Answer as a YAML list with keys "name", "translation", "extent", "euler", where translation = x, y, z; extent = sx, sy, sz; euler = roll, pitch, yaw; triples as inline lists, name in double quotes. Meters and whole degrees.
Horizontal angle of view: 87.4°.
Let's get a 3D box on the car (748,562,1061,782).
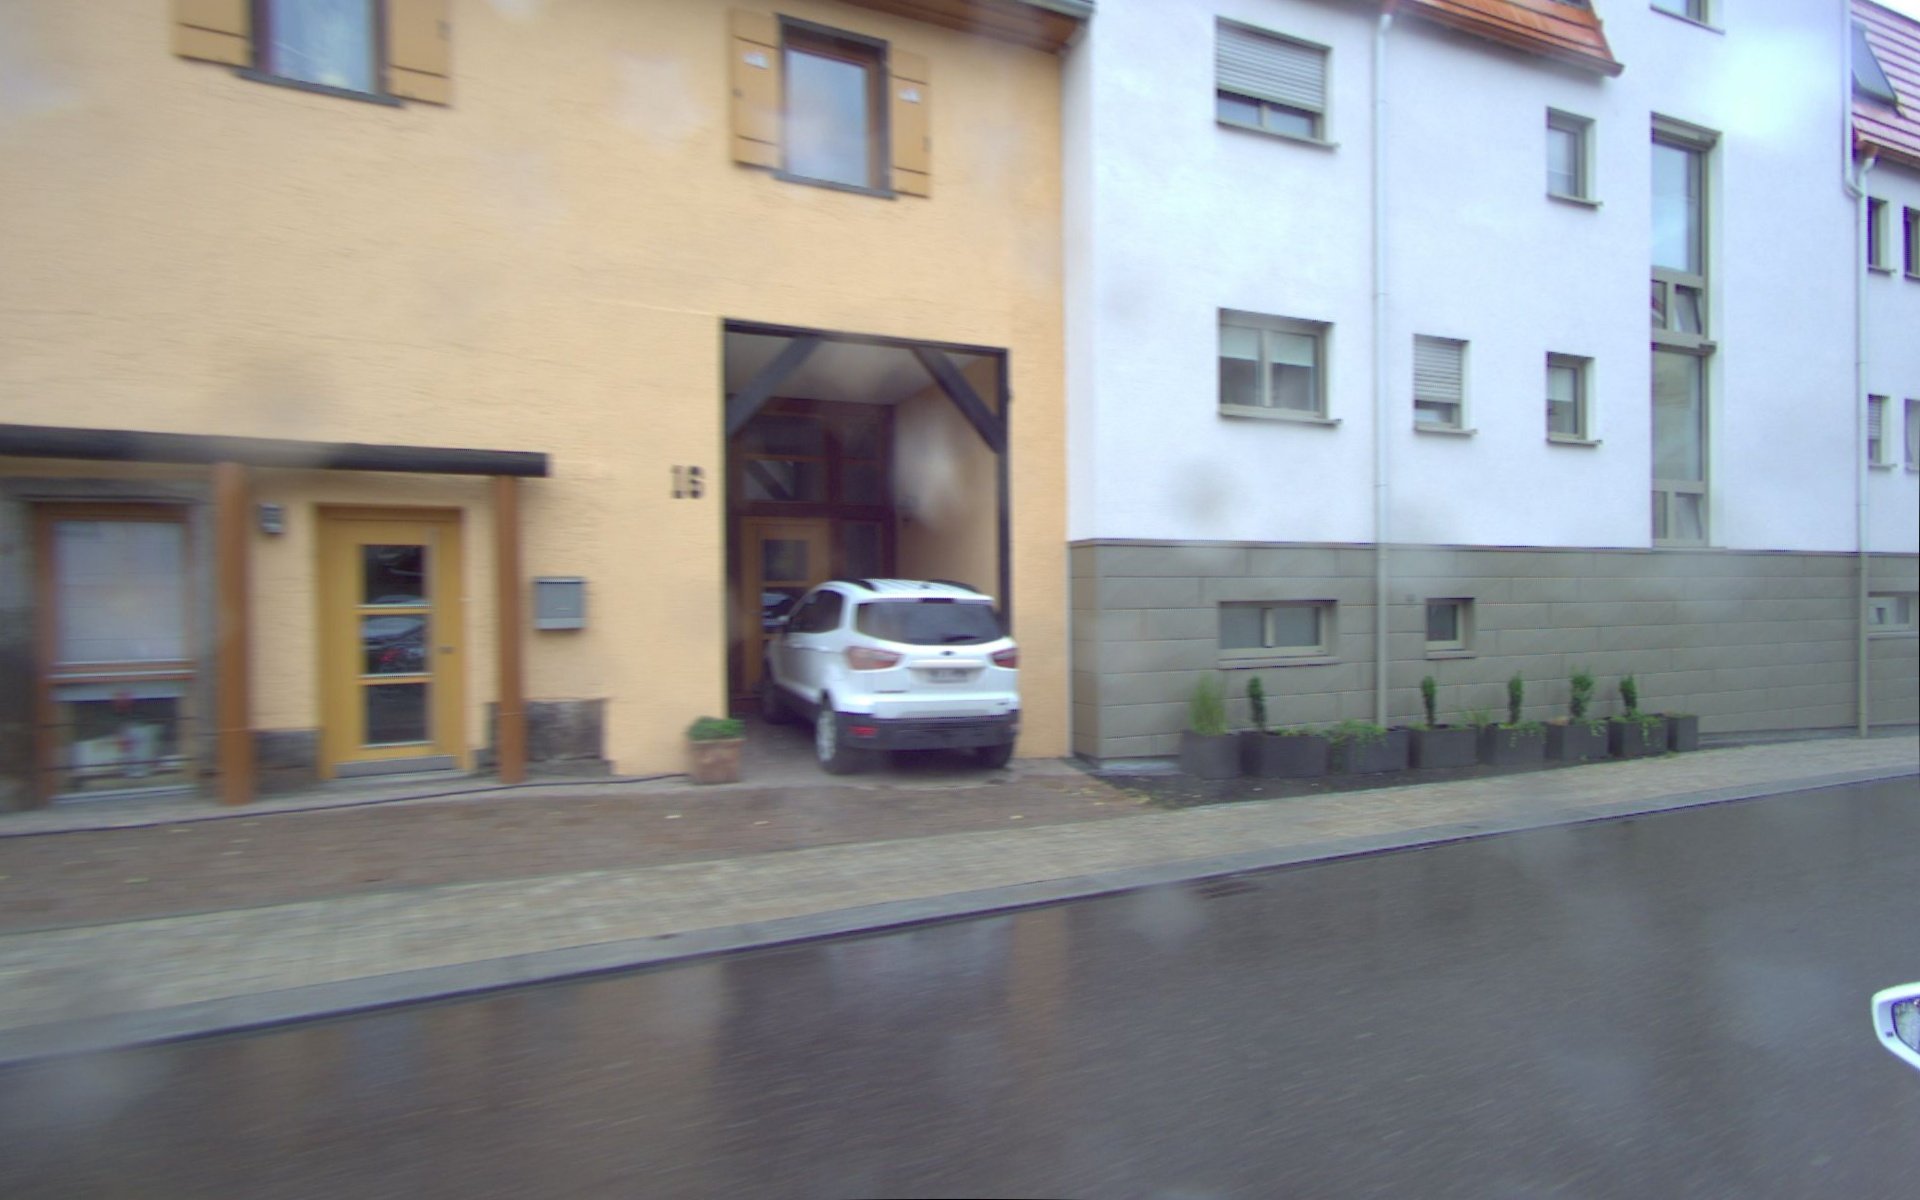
- name: "car"
  translation: [-0.790, 0.527, 10.106]
  extent: [1.852, 1.692, 3.976]
  euler: [2, 2, -23]
